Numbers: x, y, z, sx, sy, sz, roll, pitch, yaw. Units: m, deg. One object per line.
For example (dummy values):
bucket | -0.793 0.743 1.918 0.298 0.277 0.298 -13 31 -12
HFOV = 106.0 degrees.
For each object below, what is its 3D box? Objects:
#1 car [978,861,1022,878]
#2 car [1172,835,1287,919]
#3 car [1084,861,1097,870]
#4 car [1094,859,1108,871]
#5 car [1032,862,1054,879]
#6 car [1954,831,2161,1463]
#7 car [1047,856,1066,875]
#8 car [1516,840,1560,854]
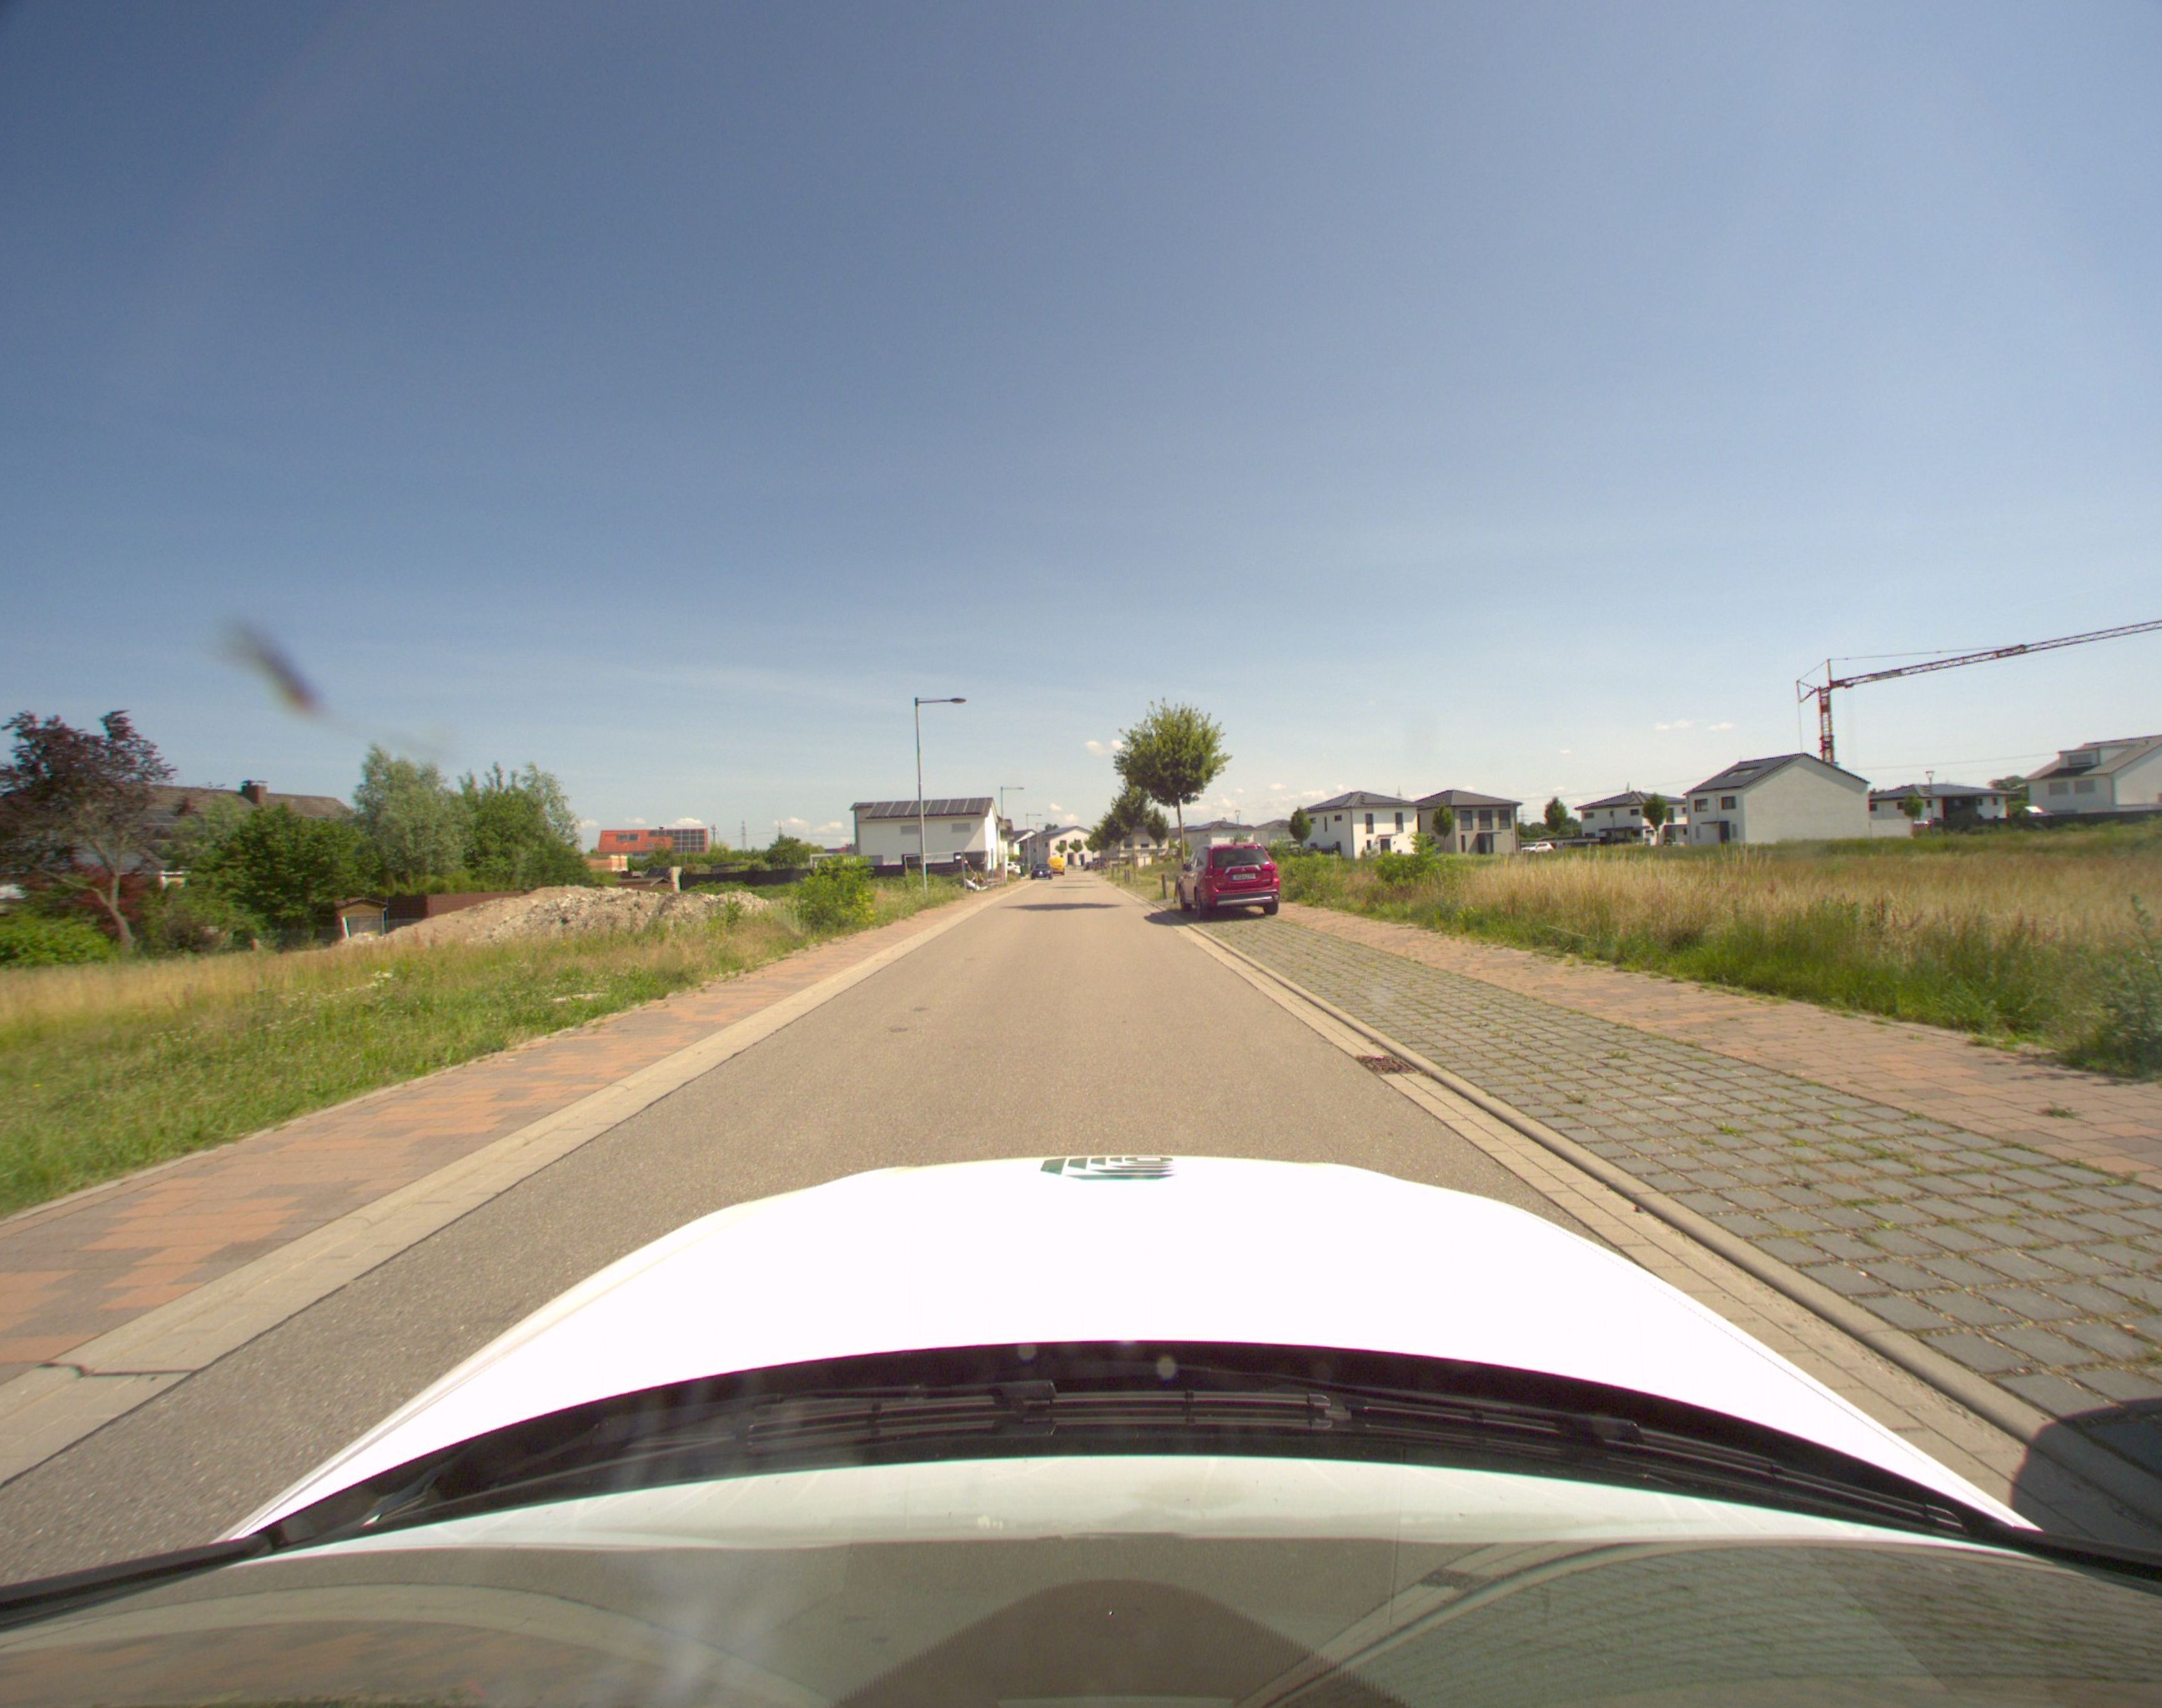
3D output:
car | -8.119 1.554 81.709 4.049 1.581 1.787 -1 0 5
car | 3.416 0.493 19.564 1.772 1.663 4.431 -4 0 -1
car | 1.472 1.869 130.192 1.626 1.322 3.823 -2 -3 -7
car | 2.761 1.507 111.607 1.634 1.403 3.808 -2 -2 -2
car | -3.319 1.427 71.361 1.740 1.405 4.158 0 0 -1
car | 3.308 0.625 0.148 1.770 1.420 4.165 -4 0 0
car | -2.782 1.352 91.445 1.938 1.981 4.210 -2 -1 -4
car | 49.468 -0.764 88.114 3.993 1.398 1.742 -2 -2 -15
